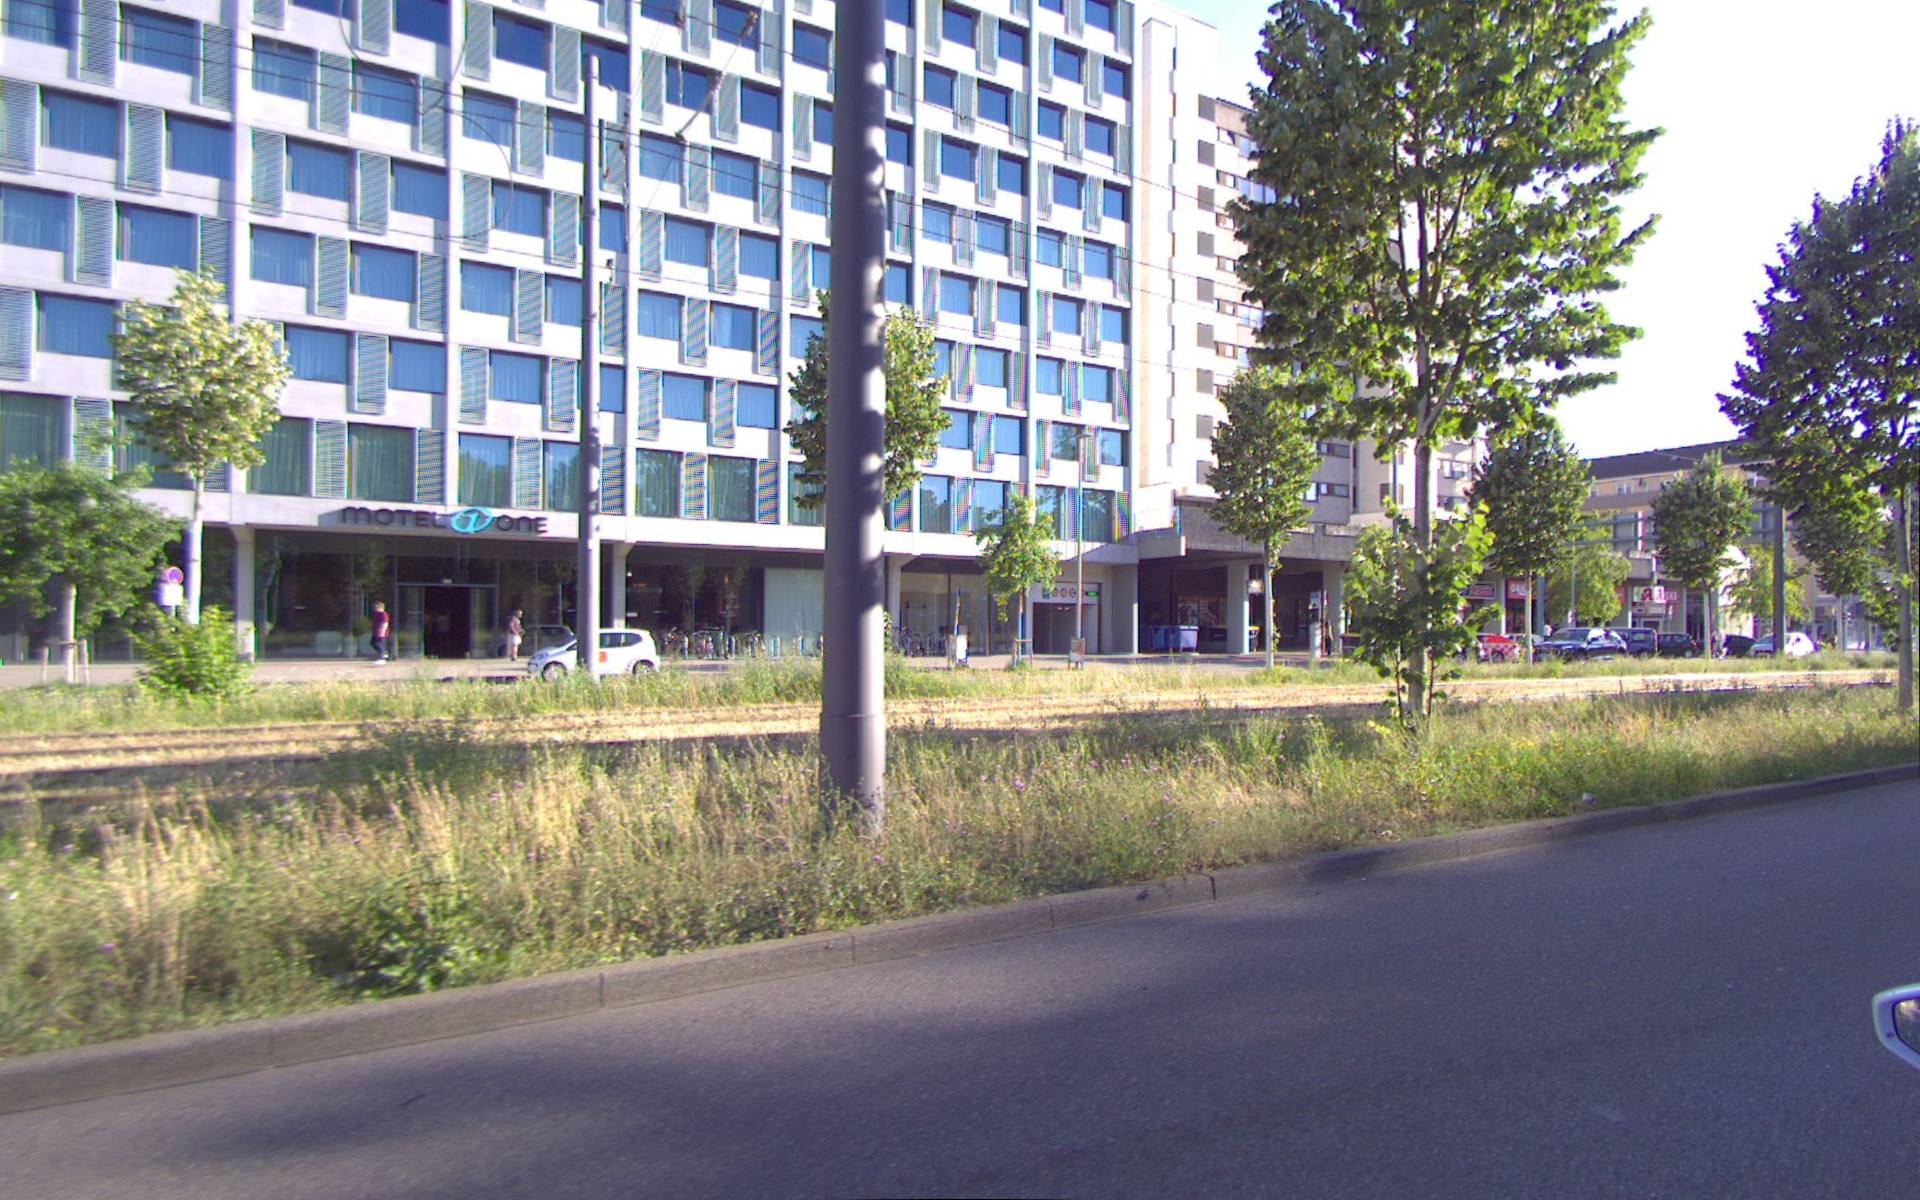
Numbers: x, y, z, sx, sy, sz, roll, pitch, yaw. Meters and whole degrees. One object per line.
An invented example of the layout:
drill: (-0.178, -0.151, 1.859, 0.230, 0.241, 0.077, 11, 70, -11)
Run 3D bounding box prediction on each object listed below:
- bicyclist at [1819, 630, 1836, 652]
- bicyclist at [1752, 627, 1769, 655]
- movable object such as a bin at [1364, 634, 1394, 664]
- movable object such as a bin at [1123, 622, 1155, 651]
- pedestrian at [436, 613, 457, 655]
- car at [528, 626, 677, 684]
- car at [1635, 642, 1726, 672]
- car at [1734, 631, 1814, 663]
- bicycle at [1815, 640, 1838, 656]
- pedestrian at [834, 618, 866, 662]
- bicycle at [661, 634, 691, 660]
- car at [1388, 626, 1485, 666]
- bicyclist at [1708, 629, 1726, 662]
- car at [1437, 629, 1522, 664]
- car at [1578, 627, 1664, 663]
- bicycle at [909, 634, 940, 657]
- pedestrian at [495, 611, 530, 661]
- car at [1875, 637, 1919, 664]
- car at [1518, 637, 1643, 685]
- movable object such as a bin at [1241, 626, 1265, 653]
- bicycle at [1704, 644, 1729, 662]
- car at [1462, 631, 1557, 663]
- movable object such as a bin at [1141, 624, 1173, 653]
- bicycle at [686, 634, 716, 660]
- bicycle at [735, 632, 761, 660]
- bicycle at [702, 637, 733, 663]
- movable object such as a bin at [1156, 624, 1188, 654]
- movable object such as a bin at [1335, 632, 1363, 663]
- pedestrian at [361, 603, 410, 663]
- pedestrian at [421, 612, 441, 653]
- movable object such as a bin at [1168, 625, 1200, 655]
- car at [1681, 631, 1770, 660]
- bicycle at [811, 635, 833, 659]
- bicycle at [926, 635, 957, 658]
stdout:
bicyclist: (54.733, 2.575, 63.381, 0.751, 1.373, 0.588, 1, 0, -32)
bicyclist: (46.141, 2.358, 57.912, 0.674, 1.565, 0.549, 1, 0, -28)
movable object such as a bin: (18.842, 2.192, 45.202, 0.924, 1.297, 0.858, 1, -1, -15)
movable object such as a bin: (9.326, 1.890, 52.347, 1.386, 1.459, 0.937, 1, -1, -29)
pedestrian: (-21.524, 1.410, 42.076, 0.755, 1.719, 0.851, 1, -1, -28)
car: (-10.323, 1.550, 29.026, 3.823, 1.512, 1.878, 1, 0, -28)
car: (42.975, 3.388, 60.038, 3.919, 1.595, 2.001, 1, 0, 13)
car: (42.841, 2.450, 52.866, 3.949, 1.535, 1.878, 1, 0, -28)
bicycle: (54.645, 3.032, 63.354, 1.698, 0.976, 0.603, 1, 0, -32)
pedestrian: (-4.213, 1.524, 38.354, 0.957, 1.675, 0.840, 1, -1, -28)
bicycle: (-10.616, 1.756, 37.477, 0.507, 0.917, 1.792, 1, -1, -35)
car: (22.974, 2.202, 48.580, 4.016, 1.622, 1.749, 2, 1, 20)
bicyclist: (42.409, 2.542, 56.289, 0.848, 1.812, 0.537, 1, 0, -32)
car: (25.918, 2.288, 50.216, 3.554, 1.543, 1.620, 2, 0, 20)
car: (37.248, 2.508, 56.692, 3.685, 1.853, 1.824, 1, 0, 21)
bicycle: (-1.505, 1.919, 42.394, 0.506, 0.917, 1.795, 1, -1, -31)
pedestrian: (-15.526, 1.251, 34.867, 1.045, 1.692, 0.972, 1, -1, -28)
car: (59.125, 3.119, 62.588, 3.949, 1.535, 1.878, 1, 0, -28)
car: (24.317, 2.325, 39.312, 5.025, 1.711, 1.878, 1, 0, -28)
movable object such as a bin: (14.994, 2.010, 51.470, 0.858, 1.389, 0.818, 1, -1, -29)
bicycle: (42.377, 2.961, 56.277, 1.692, 1.006, 0.541, 1, 0, -32)
car: (28.319, 2.410, 51.896, 3.919, 1.472, 1.788, 1, 0, 13)
movable object such as a bin: (10.068, 1.942, 51.316, 1.386, 1.459, 0.797, 1, -1, -29)
bicycle: (-9.736, 1.740, 37.687, 0.507, 0.917, 1.792, 1, -1, -35)
bicycle: (-8.234, 1.771, 38.895, 0.477, 0.979, 1.743, 1, 0, -29)
bicycle: (-9.215, 1.881, 38.103, 0.507, 0.917, 1.792, 1, -1, -35)
movable object such as a bin: (10.635, 1.951, 50.319, 1.386, 1.459, 0.797, 1, -1, -29)
movable object such as a bin: (17.911, 2.176, 46.261, 0.924, 1.375, 0.858, 1, -1, -15)
pedestrian: (-18.651, 1.071, 32.622, 0.959, 1.895, 0.973, 0, -1, 7)
pedestrian: (-22.514, 1.392, 42.760, 0.755, 1.719, 0.851, 1, -1, -28)
movable object such as a bin: (11.046, 1.957, 49.553, 1.386, 1.459, 0.797, 1, -1, -29)
car: (47.281, 2.794, 62.133, 3.921, 1.584, 2.000, 1, 0, 19)
bicycle: (-5.477, 1.854, 39.780, 0.504, 0.917, 1.803, 1, -1, -18)
bicycle: (-0.790, 1.977, 42.657, 0.506, 0.917, 1.795, 1, -1, -31)
